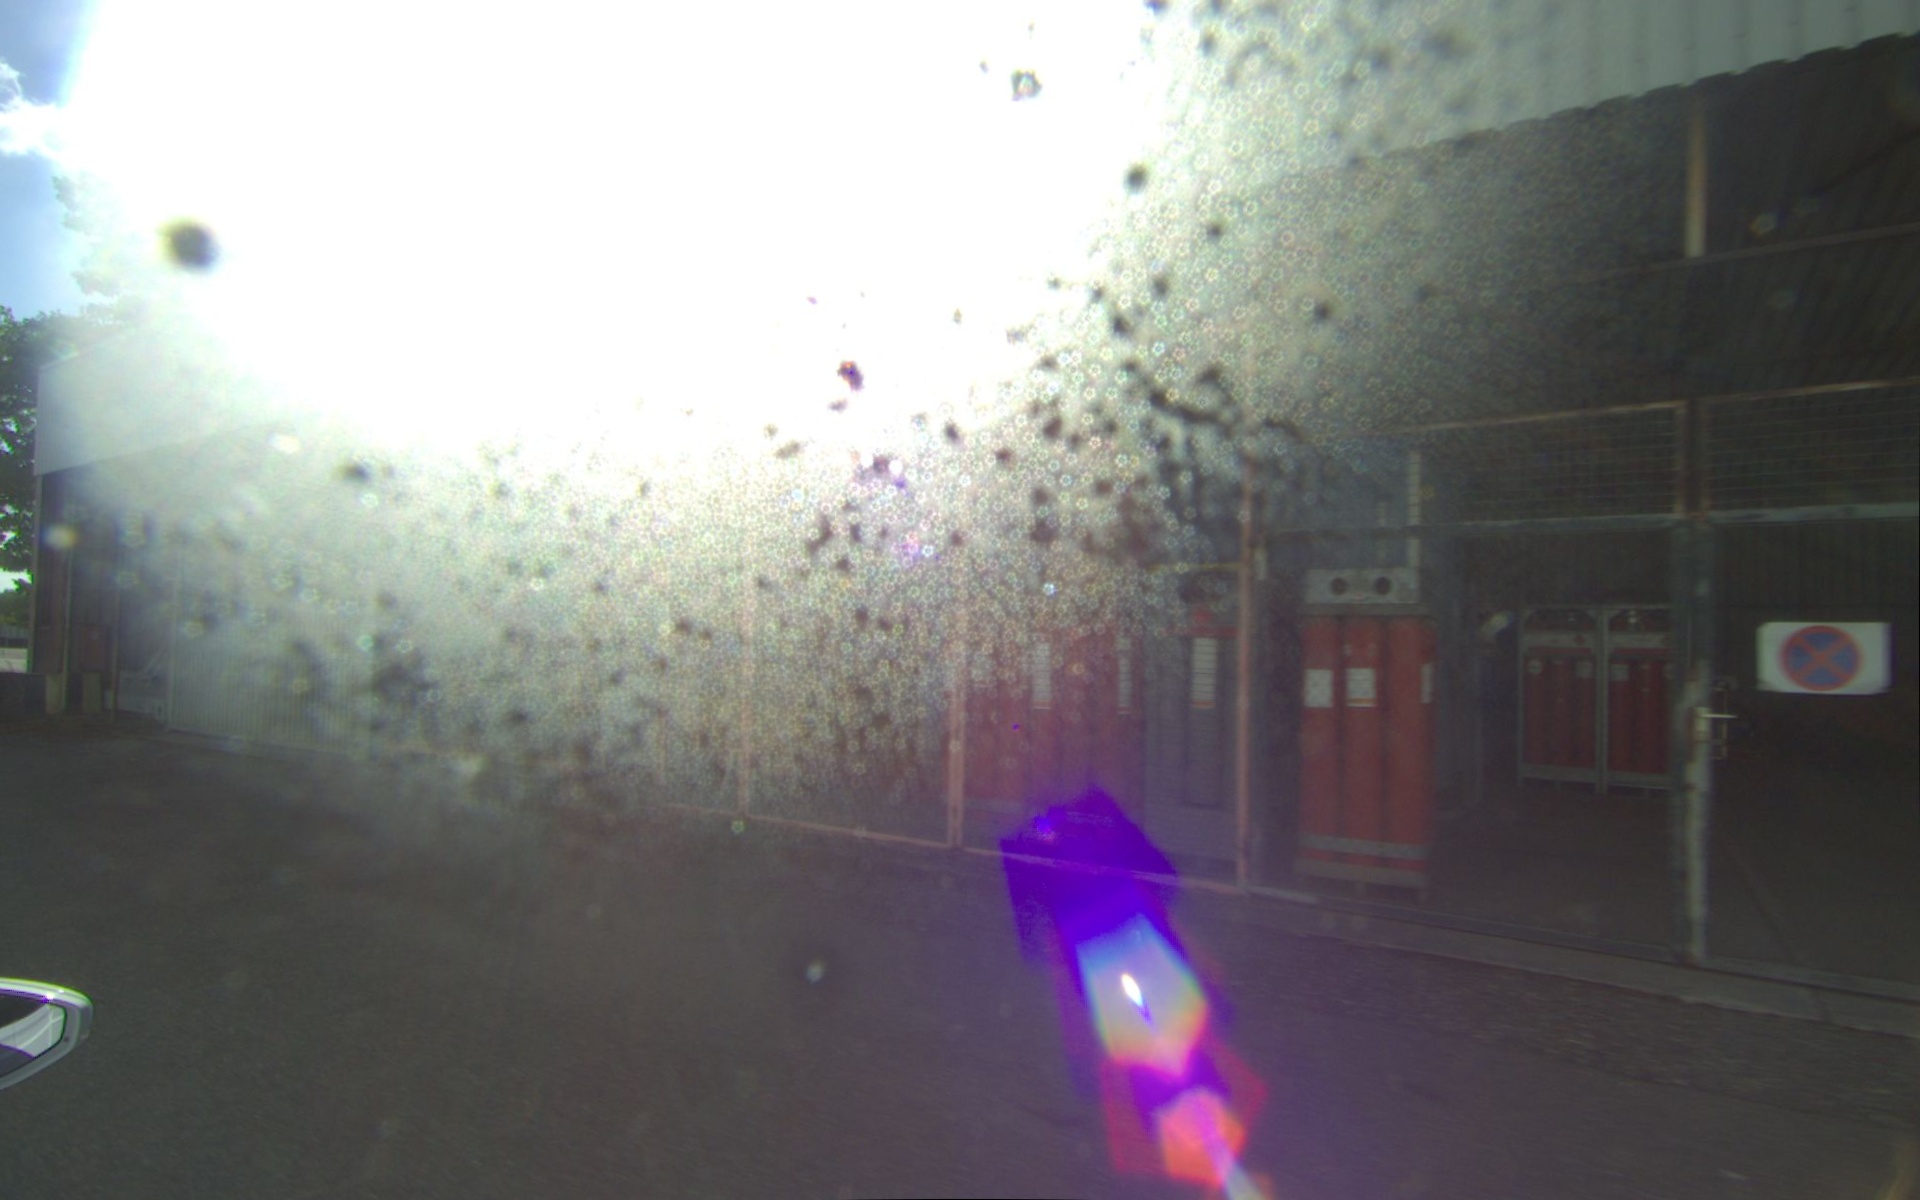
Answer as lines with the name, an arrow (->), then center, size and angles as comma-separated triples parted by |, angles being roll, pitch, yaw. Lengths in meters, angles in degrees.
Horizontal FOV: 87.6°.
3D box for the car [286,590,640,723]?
car -> -8.158, 0.934, 17.099 | 1.968, 1.900, 5.237 | 0, -3, 27
